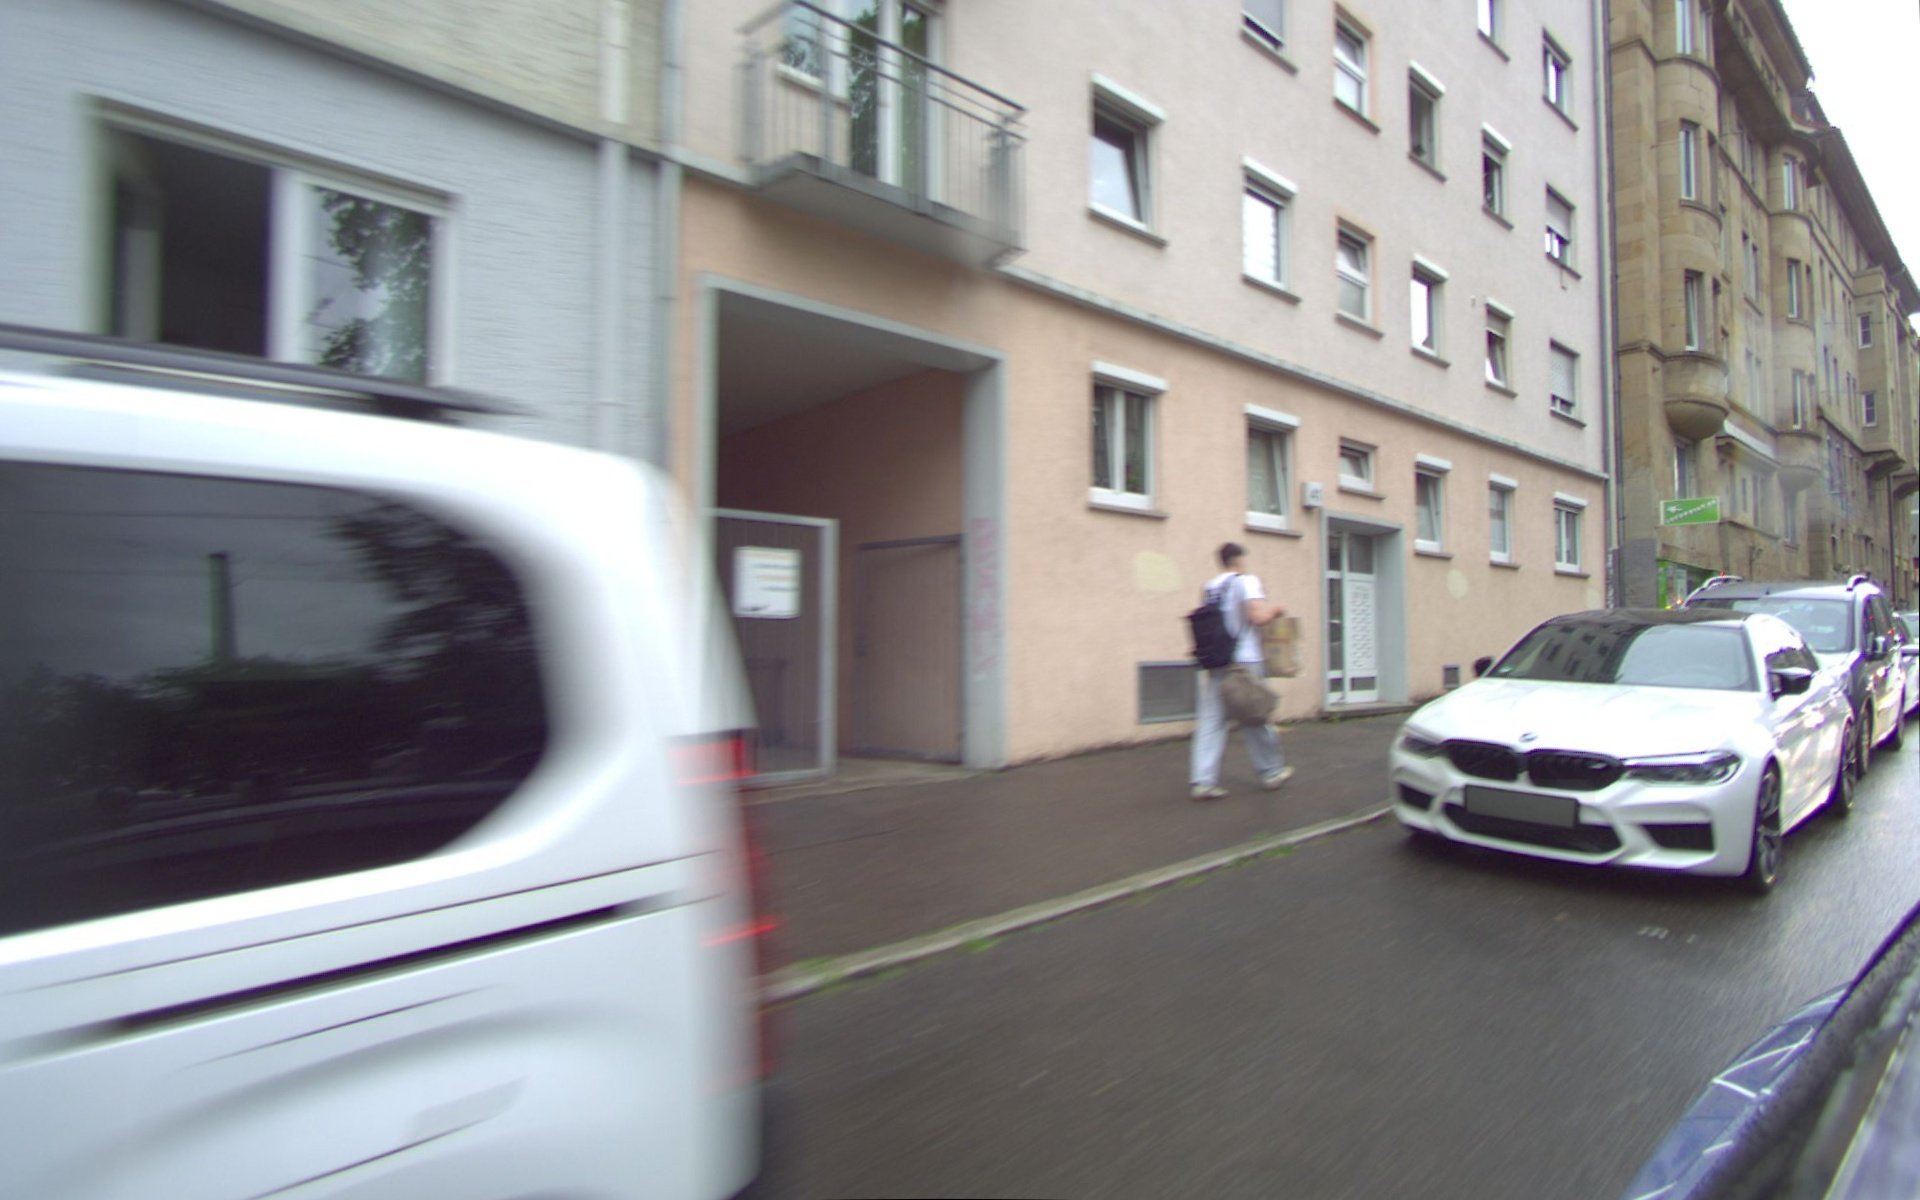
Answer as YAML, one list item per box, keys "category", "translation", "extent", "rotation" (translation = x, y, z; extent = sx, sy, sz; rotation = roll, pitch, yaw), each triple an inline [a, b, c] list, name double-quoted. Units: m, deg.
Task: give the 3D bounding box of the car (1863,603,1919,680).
- category: "car"
  translation: [19.434, 0.786, 20.231]
  extent: [4.238, 1.428, 1.671]
  rotation: [0, 0, -43]

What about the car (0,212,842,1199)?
- category: "car"
  translation: [-2.435, 0.517, 0.853]
  extent: [4.388, 1.773, 1.831]
  rotation: [0, -1, -40]

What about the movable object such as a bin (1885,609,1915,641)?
- category: "movable object such as a bin"
  translation: [34.290, 0.905, 36.922]
  extent: [1.104, 1.117, 0.666]
  rotation: [0, -2, -41]

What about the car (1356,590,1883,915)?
- category: "car"
  translation: [4.752, 0.714, 6.931]
  extent: [4.818, 1.474, 1.873]
  rotation: [1, -1, -42]

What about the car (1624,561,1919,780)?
- category: "car"
  translation: [8.466, 0.577, 10.358]
  extent: [4.139, 1.787, 1.793]
  rotation: [0, 0, -42]

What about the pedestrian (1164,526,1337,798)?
- category: "pedestrian"
  translation: [2.163, 0.417, 7.522]
  extent: [1.020, 1.856, 0.747]
  rotation: [1, 1, -40]

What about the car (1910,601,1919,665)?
- category: "car"
  translation: [23.836, 0.769, 23.955]
  extent: [3.888, 1.452, 1.670]
  rotation: [0, 0, -42]

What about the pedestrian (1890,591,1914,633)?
- category: "pedestrian"
  translation: [34.934, 0.451, 37.546]
  extent: [0.697, 1.555, 0.562]
  rotation: [1, -1, -41]

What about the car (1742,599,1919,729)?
- category: "car"
  translation: [11.686, 0.736, 13.294]
  extent: [3.536, 1.480, 1.573]
  rotation: [0, 0, -41]

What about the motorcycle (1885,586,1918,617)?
- category: "motorcycle"
  translation: [38.606, 0.065, 41.500]
  extent: [2.698, 1.214, 0.706]
  rotation: [0, -1, -41]
